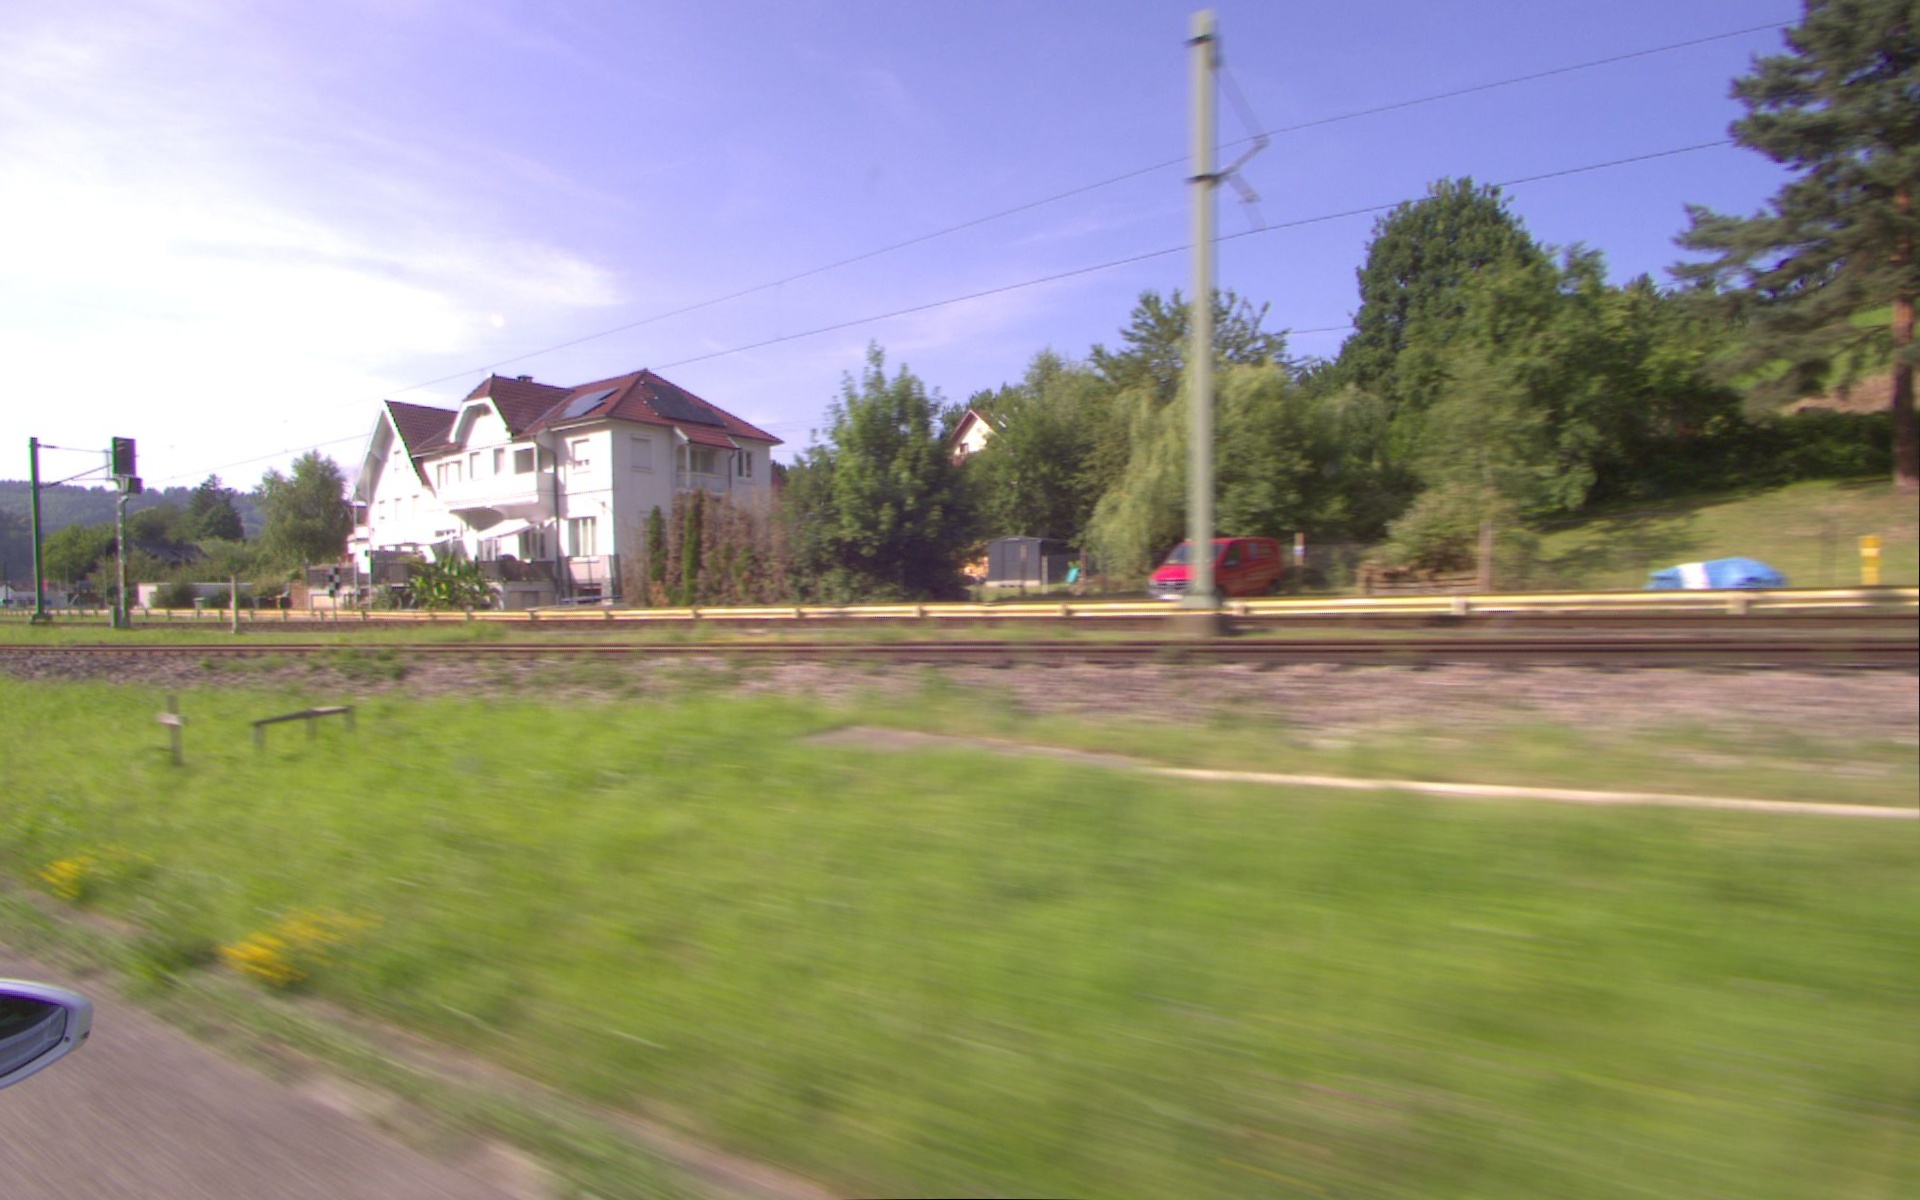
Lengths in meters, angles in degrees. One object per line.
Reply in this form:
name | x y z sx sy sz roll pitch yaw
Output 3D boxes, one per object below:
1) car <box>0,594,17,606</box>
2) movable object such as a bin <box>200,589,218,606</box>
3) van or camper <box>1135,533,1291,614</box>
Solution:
car | -168.022 -0.007 174.443 1.979 2.041 5.244 1 3 44
movable object such as a bin | -50.389 -0.162 67.200 0.901 1.064 0.804 1 0 41
van or camper | 6.929 -0.741 26.982 2.094 1.955 5.393 0 2 38
